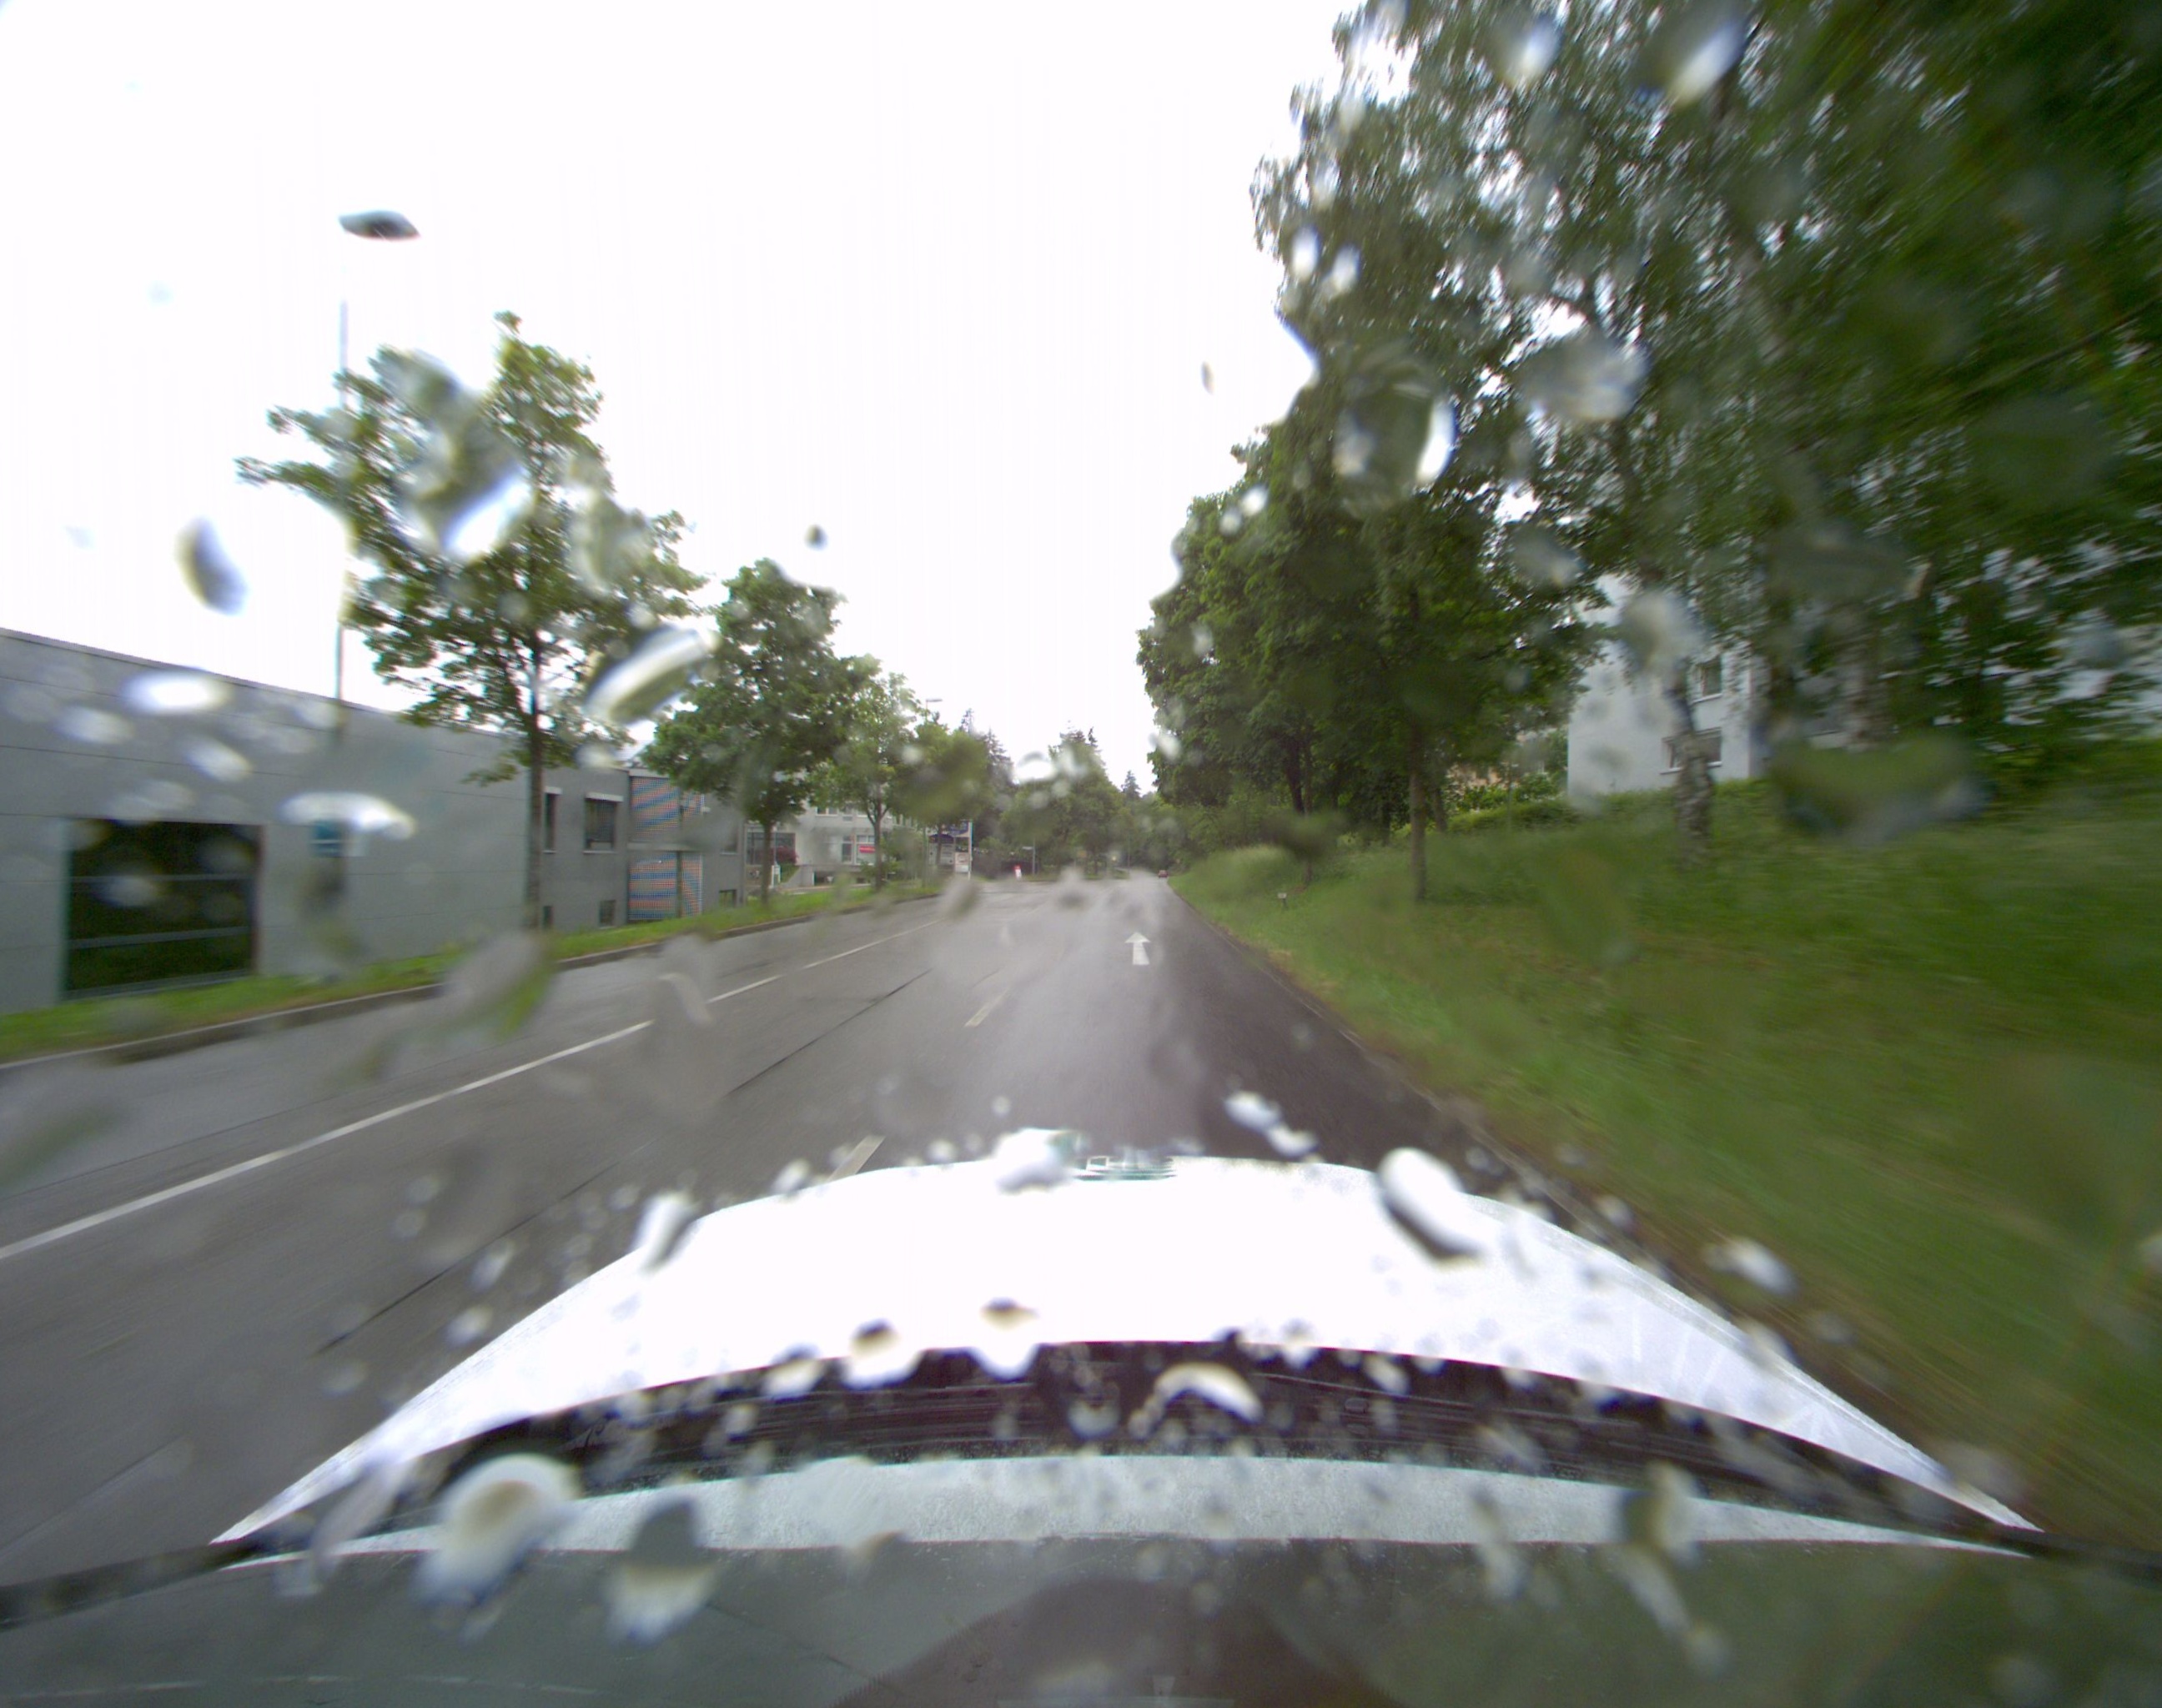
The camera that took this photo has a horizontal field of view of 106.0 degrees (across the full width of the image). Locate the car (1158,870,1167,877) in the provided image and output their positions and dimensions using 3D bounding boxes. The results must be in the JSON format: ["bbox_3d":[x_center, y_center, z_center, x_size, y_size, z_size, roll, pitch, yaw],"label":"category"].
[{"bbox_3d":[16.609,3.958,165.375,1.728,1.510,4.005,-2,-1,4],"label":"car"}]
